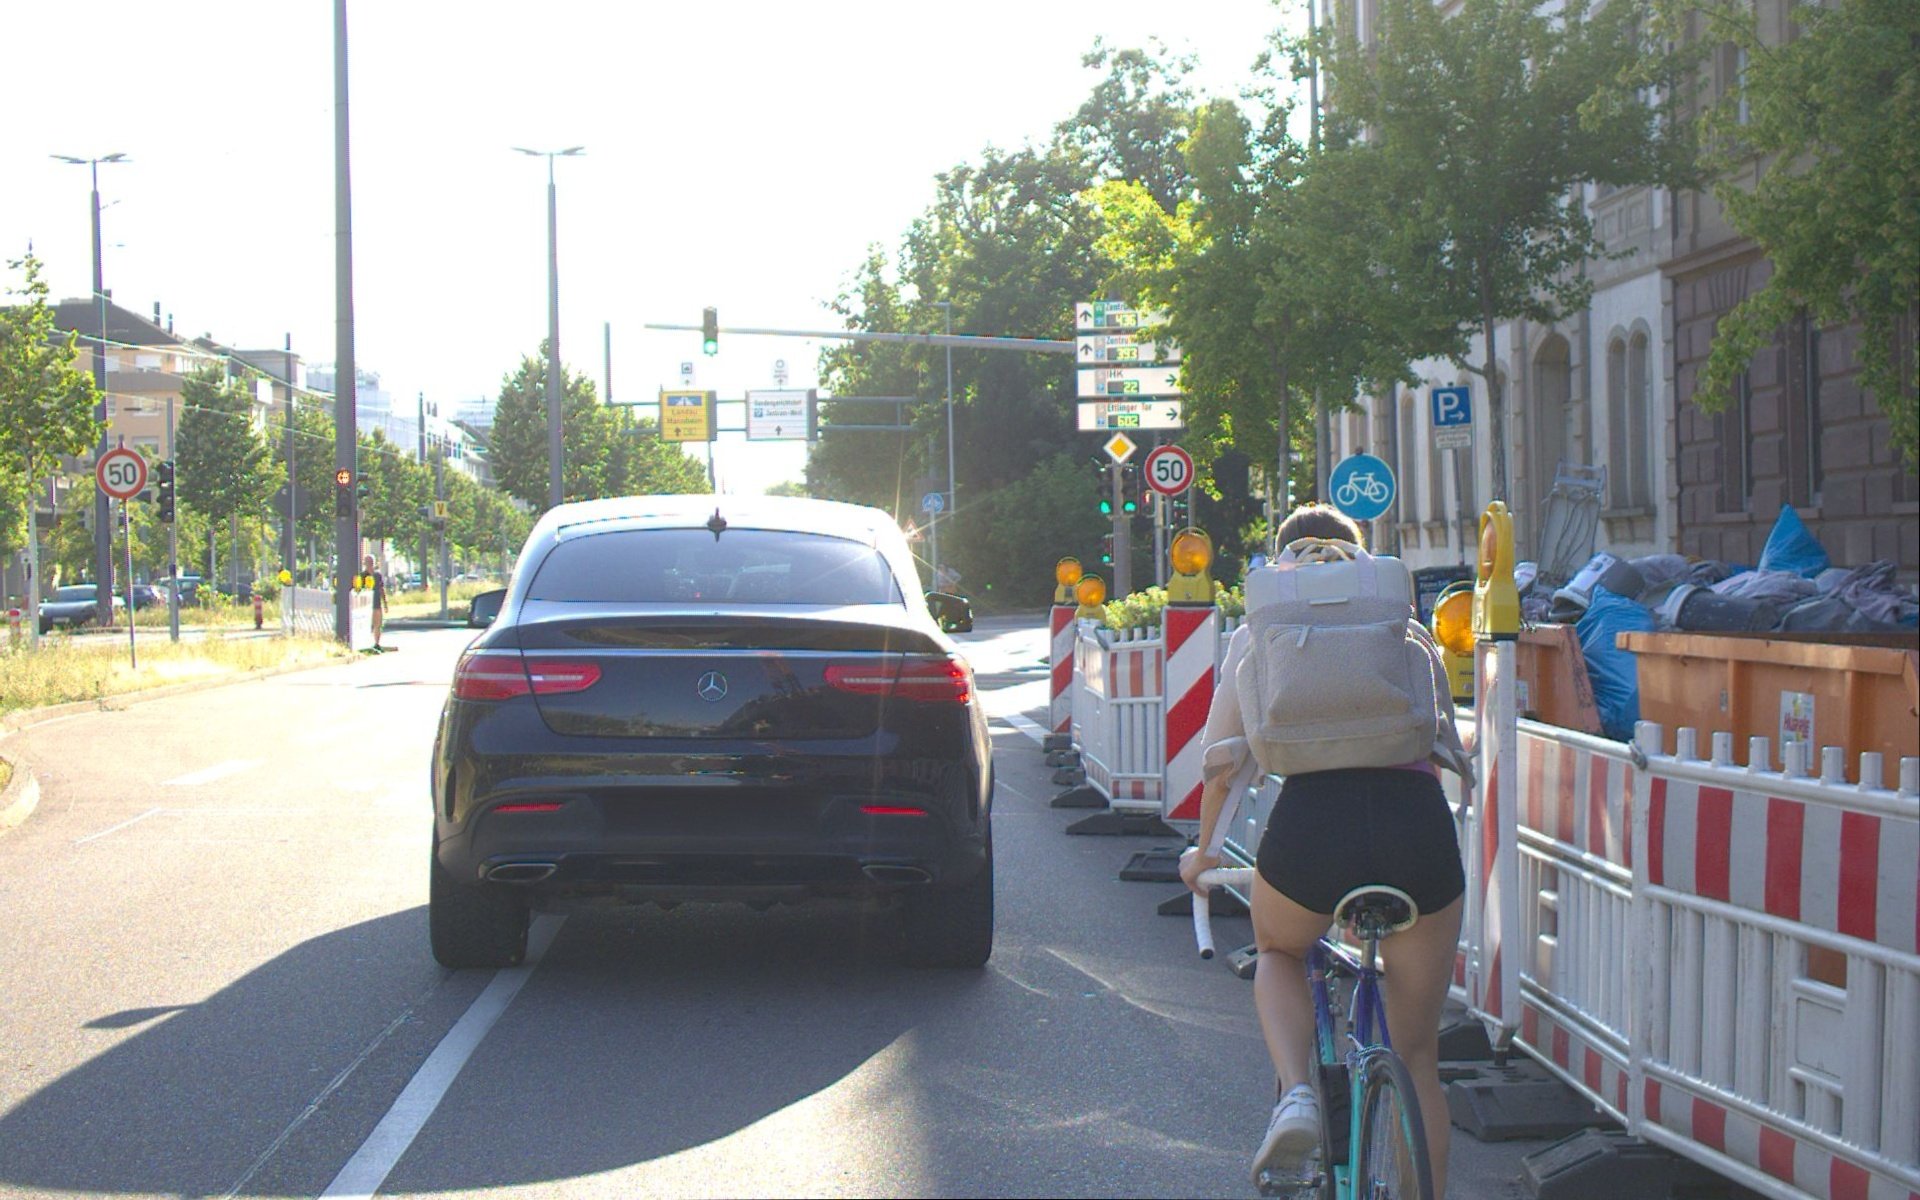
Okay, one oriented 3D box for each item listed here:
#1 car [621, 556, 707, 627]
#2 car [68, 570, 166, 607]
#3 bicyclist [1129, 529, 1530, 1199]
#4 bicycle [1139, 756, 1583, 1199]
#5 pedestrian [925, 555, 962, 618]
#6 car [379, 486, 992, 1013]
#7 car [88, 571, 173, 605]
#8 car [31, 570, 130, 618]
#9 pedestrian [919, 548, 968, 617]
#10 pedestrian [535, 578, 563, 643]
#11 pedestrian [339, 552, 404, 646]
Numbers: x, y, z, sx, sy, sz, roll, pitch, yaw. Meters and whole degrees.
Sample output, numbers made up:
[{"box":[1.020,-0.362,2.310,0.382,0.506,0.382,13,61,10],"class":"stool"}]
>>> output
[{"box":[-6.917,-0.212,80.598,1.885,1.575,4.001,0,1,-3],"class":"car"},{"box":[-39.645,-0.554,161.680,4.085,1.595,1.749,2,1,-43],"class":"car"},{"box":[0.635,0.619,6.177,0.552,1.486,1.081,-1,1,-2],"class":"bicyclist"},{"box":[0.672,0.891,6.249,0.520,1.093,1.843,-1,1,-2],"class":"bicycle"},{"box":[-0.432,-0.363,90.597,0.766,1.631,0.770,-3,1,-12],"class":"pedestrian"},{"box":[-0.894,0.452,13.386,1.993,1.728,4.000,0,1,1],"class":"car"},{"box":[-39.852,-0.570,165.200,3.615,1.518,1.620,1,0,-43],"class":"car"},{"box":[-25.970,-0.193,101.619,1.891,1.339,4.851,-1,1,-3],"class":"car"},{"box":[-0.432,-0.469,91.657,0.857,1.796,0.907,-3,1,-37],"class":"pedestrian"},{"box":[-10.884,0.281,91.028,0.598,1.693,0.714,-1,0,3],"class":"pedestrian"},{"box":[-10.415,-0.021,60.857,0.924,1.643,0.765,0,0,10],"class":"pedestrian"}]
